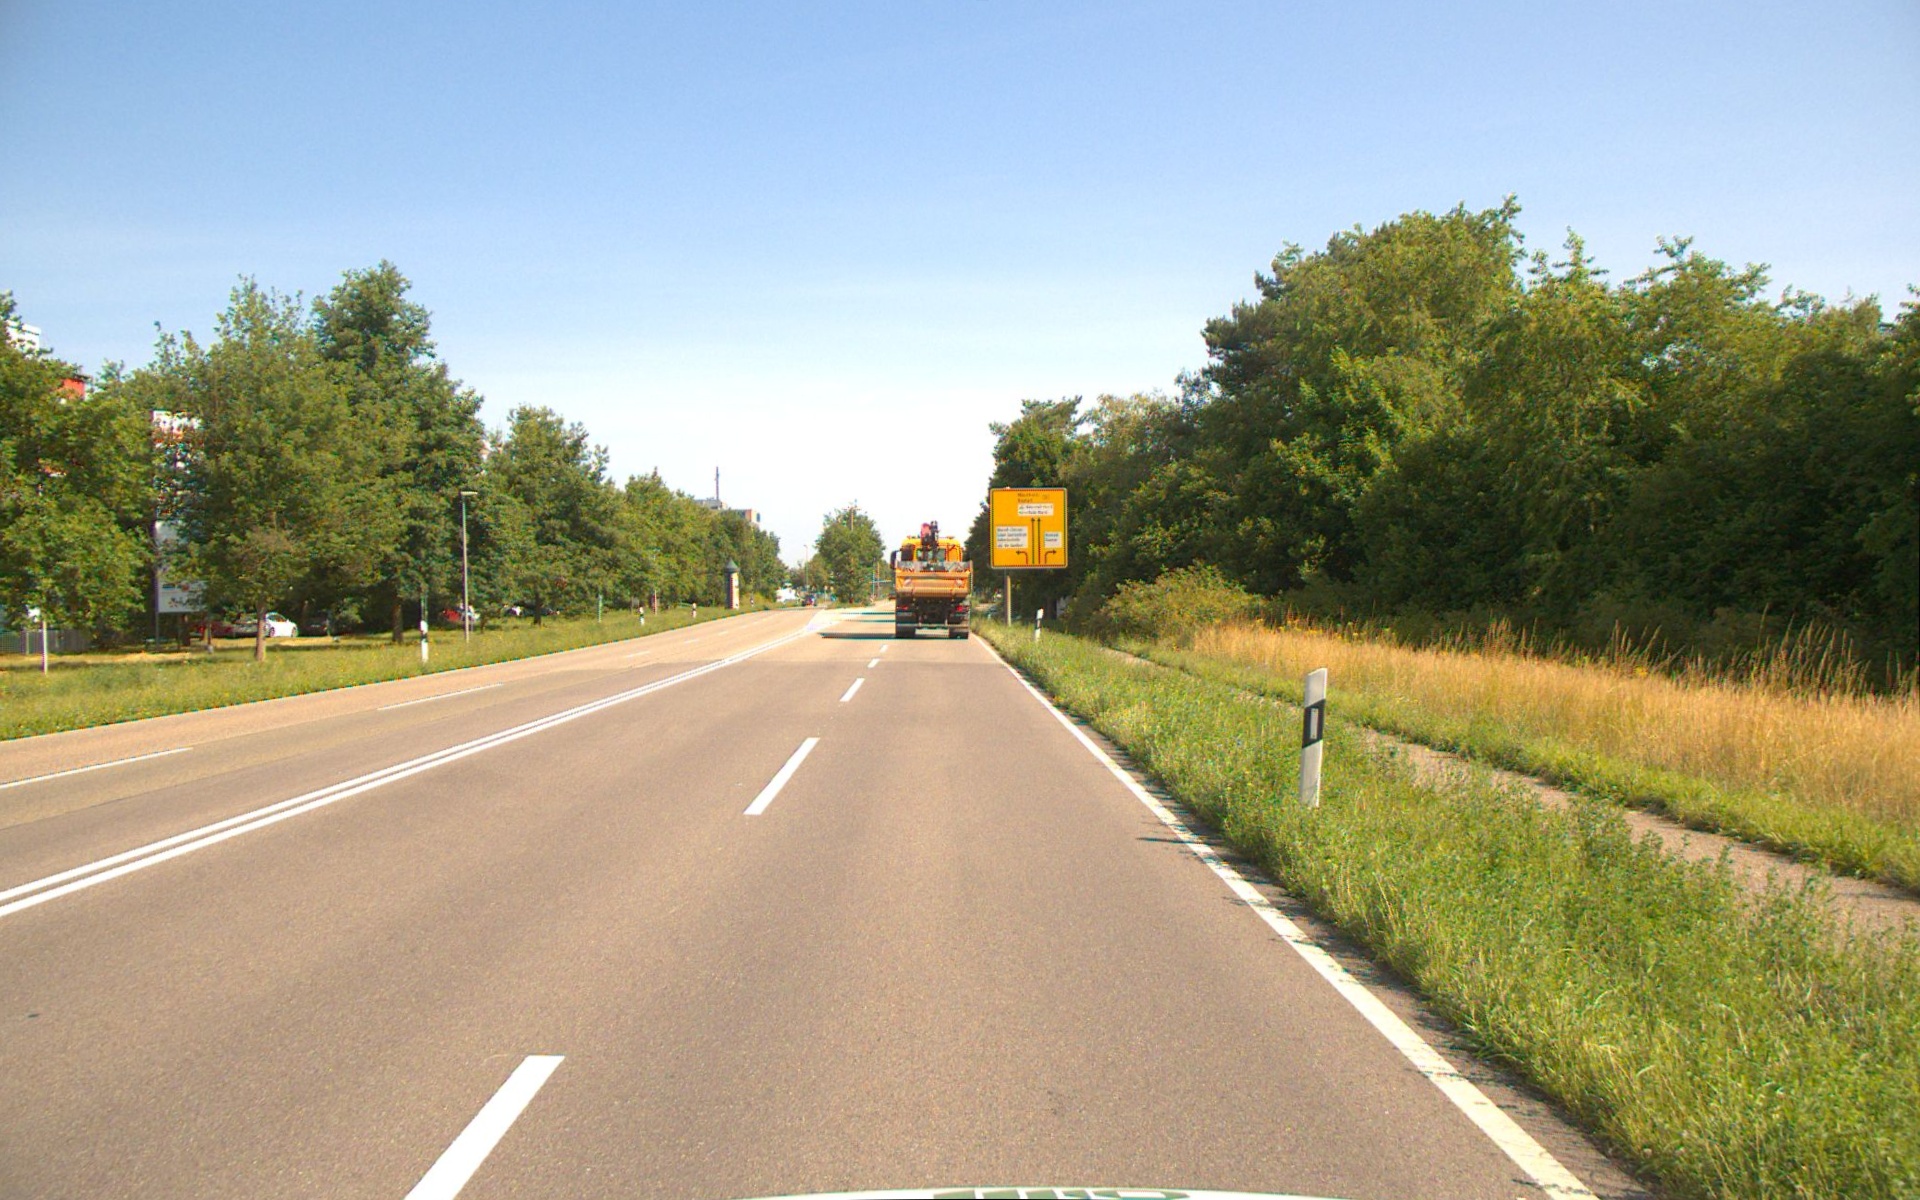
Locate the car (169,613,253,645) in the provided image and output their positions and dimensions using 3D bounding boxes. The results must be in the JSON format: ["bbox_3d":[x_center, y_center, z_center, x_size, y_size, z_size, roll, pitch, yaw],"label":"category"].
[{"bbox_3d":[-38.347,1.471,84.814,1.952,1.462,4.955,-1,0,0],"label":"car"}]

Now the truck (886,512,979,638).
[{"bbox_3d":[-1.046,-0.824,56.385,2.815,3.948,7.395,1,0,-3],"label":"truck"}]

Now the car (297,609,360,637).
[{"bbox_3d":[-36.393,1.322,95.425,1.953,1.462,4.609,-1,0,-1],"label":"car"}]

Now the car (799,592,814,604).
[{"bbox_3d":[-21.167,-0.333,227.625,1.764,1.599,3.999,-2,0,-2],"label":"car"}]

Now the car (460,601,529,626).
[{"bbox_3d":[-34.224,0.990,121.626,4.502,1.679,1.999,-1,0,-2],"label":"car"}]

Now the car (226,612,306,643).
[{"bbox_3d":[-35.808,1.406,85.475,1.952,1.462,4.955,-1,0,0],"label":"car"}]
